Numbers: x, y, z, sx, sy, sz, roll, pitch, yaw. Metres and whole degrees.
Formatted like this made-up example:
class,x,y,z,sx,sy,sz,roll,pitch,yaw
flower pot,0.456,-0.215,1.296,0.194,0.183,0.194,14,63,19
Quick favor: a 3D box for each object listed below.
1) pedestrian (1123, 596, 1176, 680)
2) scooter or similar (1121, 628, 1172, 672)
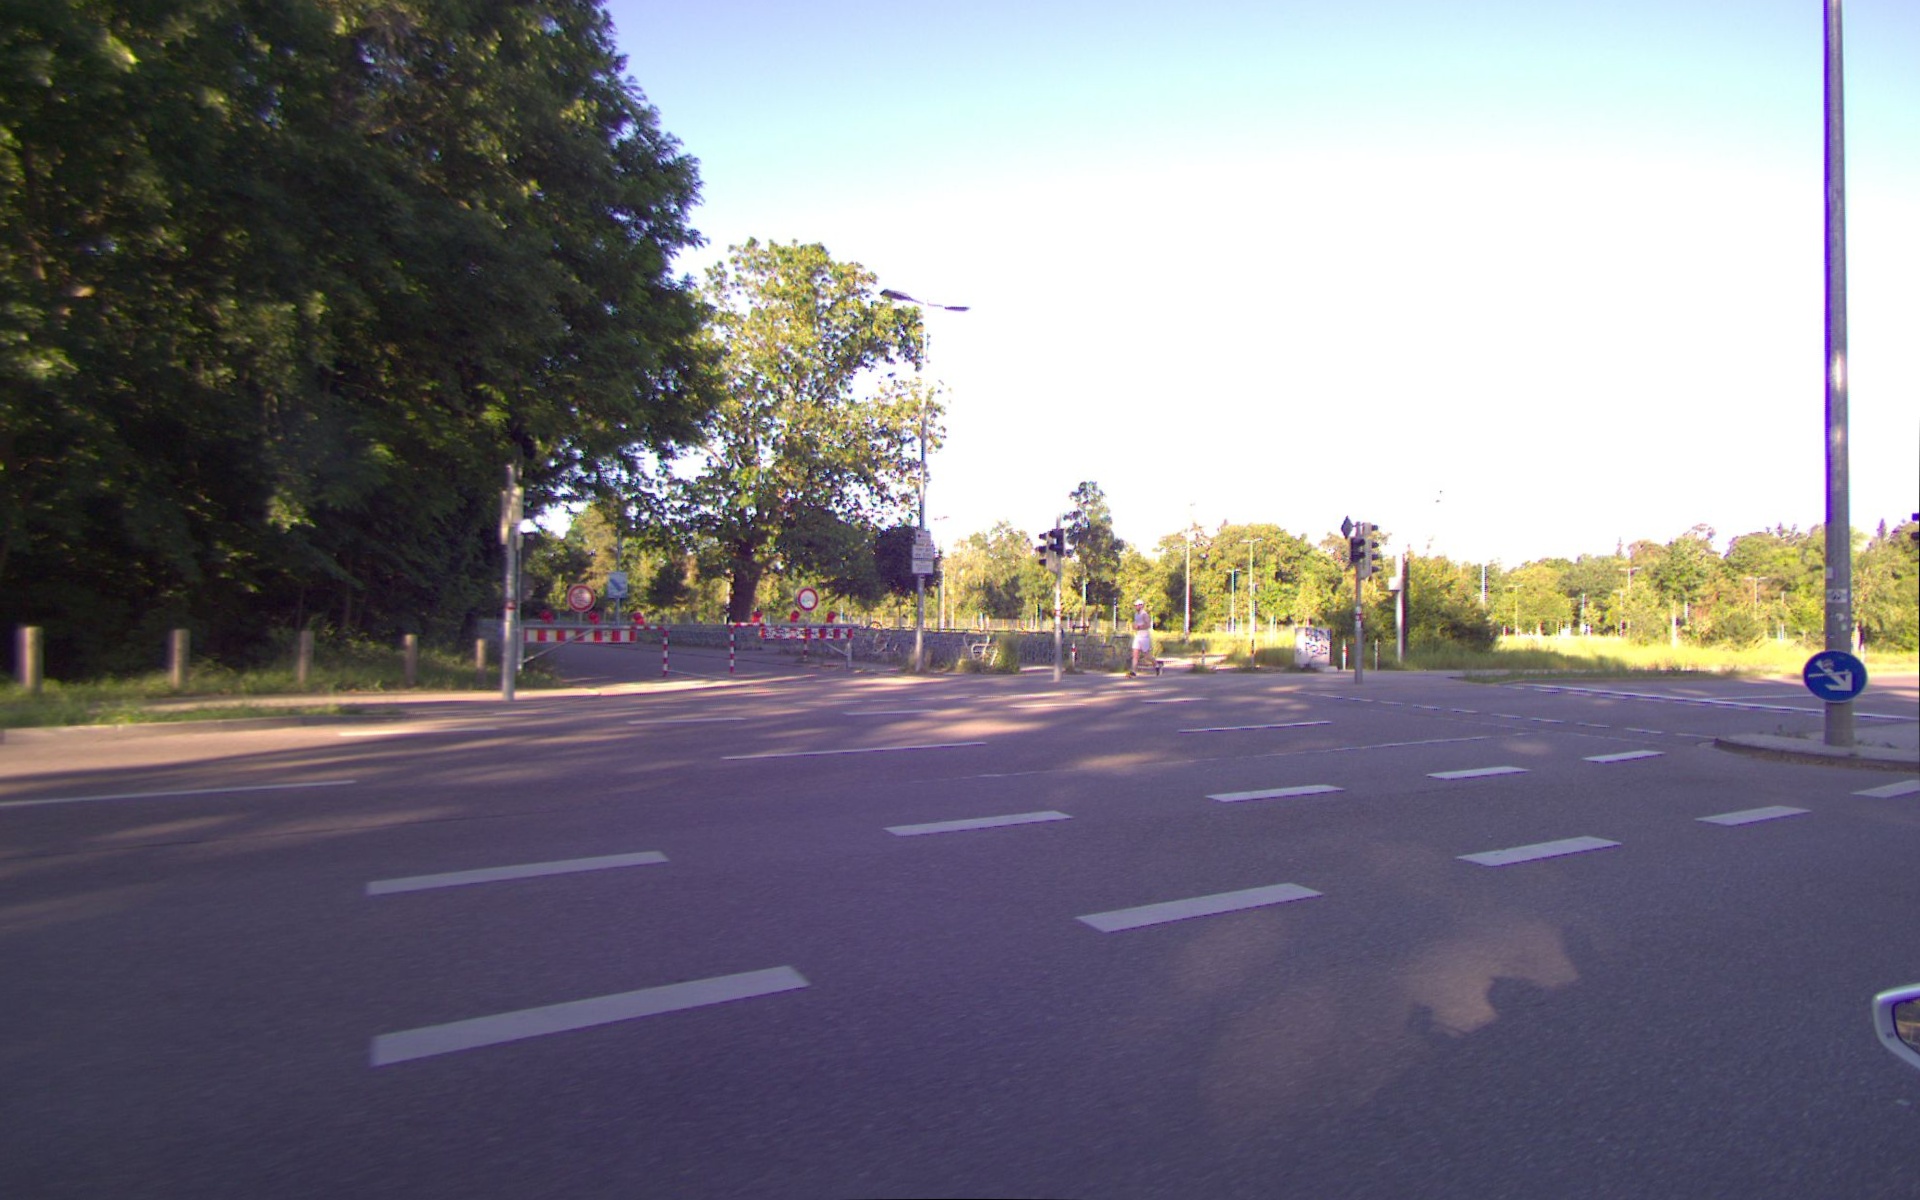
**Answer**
class,x,y,z,sx,sy,sz,roll,pitch,yaw
pedestrian,4.495,0.907,23.789,1.094,1.934,0.609,2,-2,-31
scooter or similar,5.360,1.435,28.845,1.337,1.240,0.511,2,-2,-17
